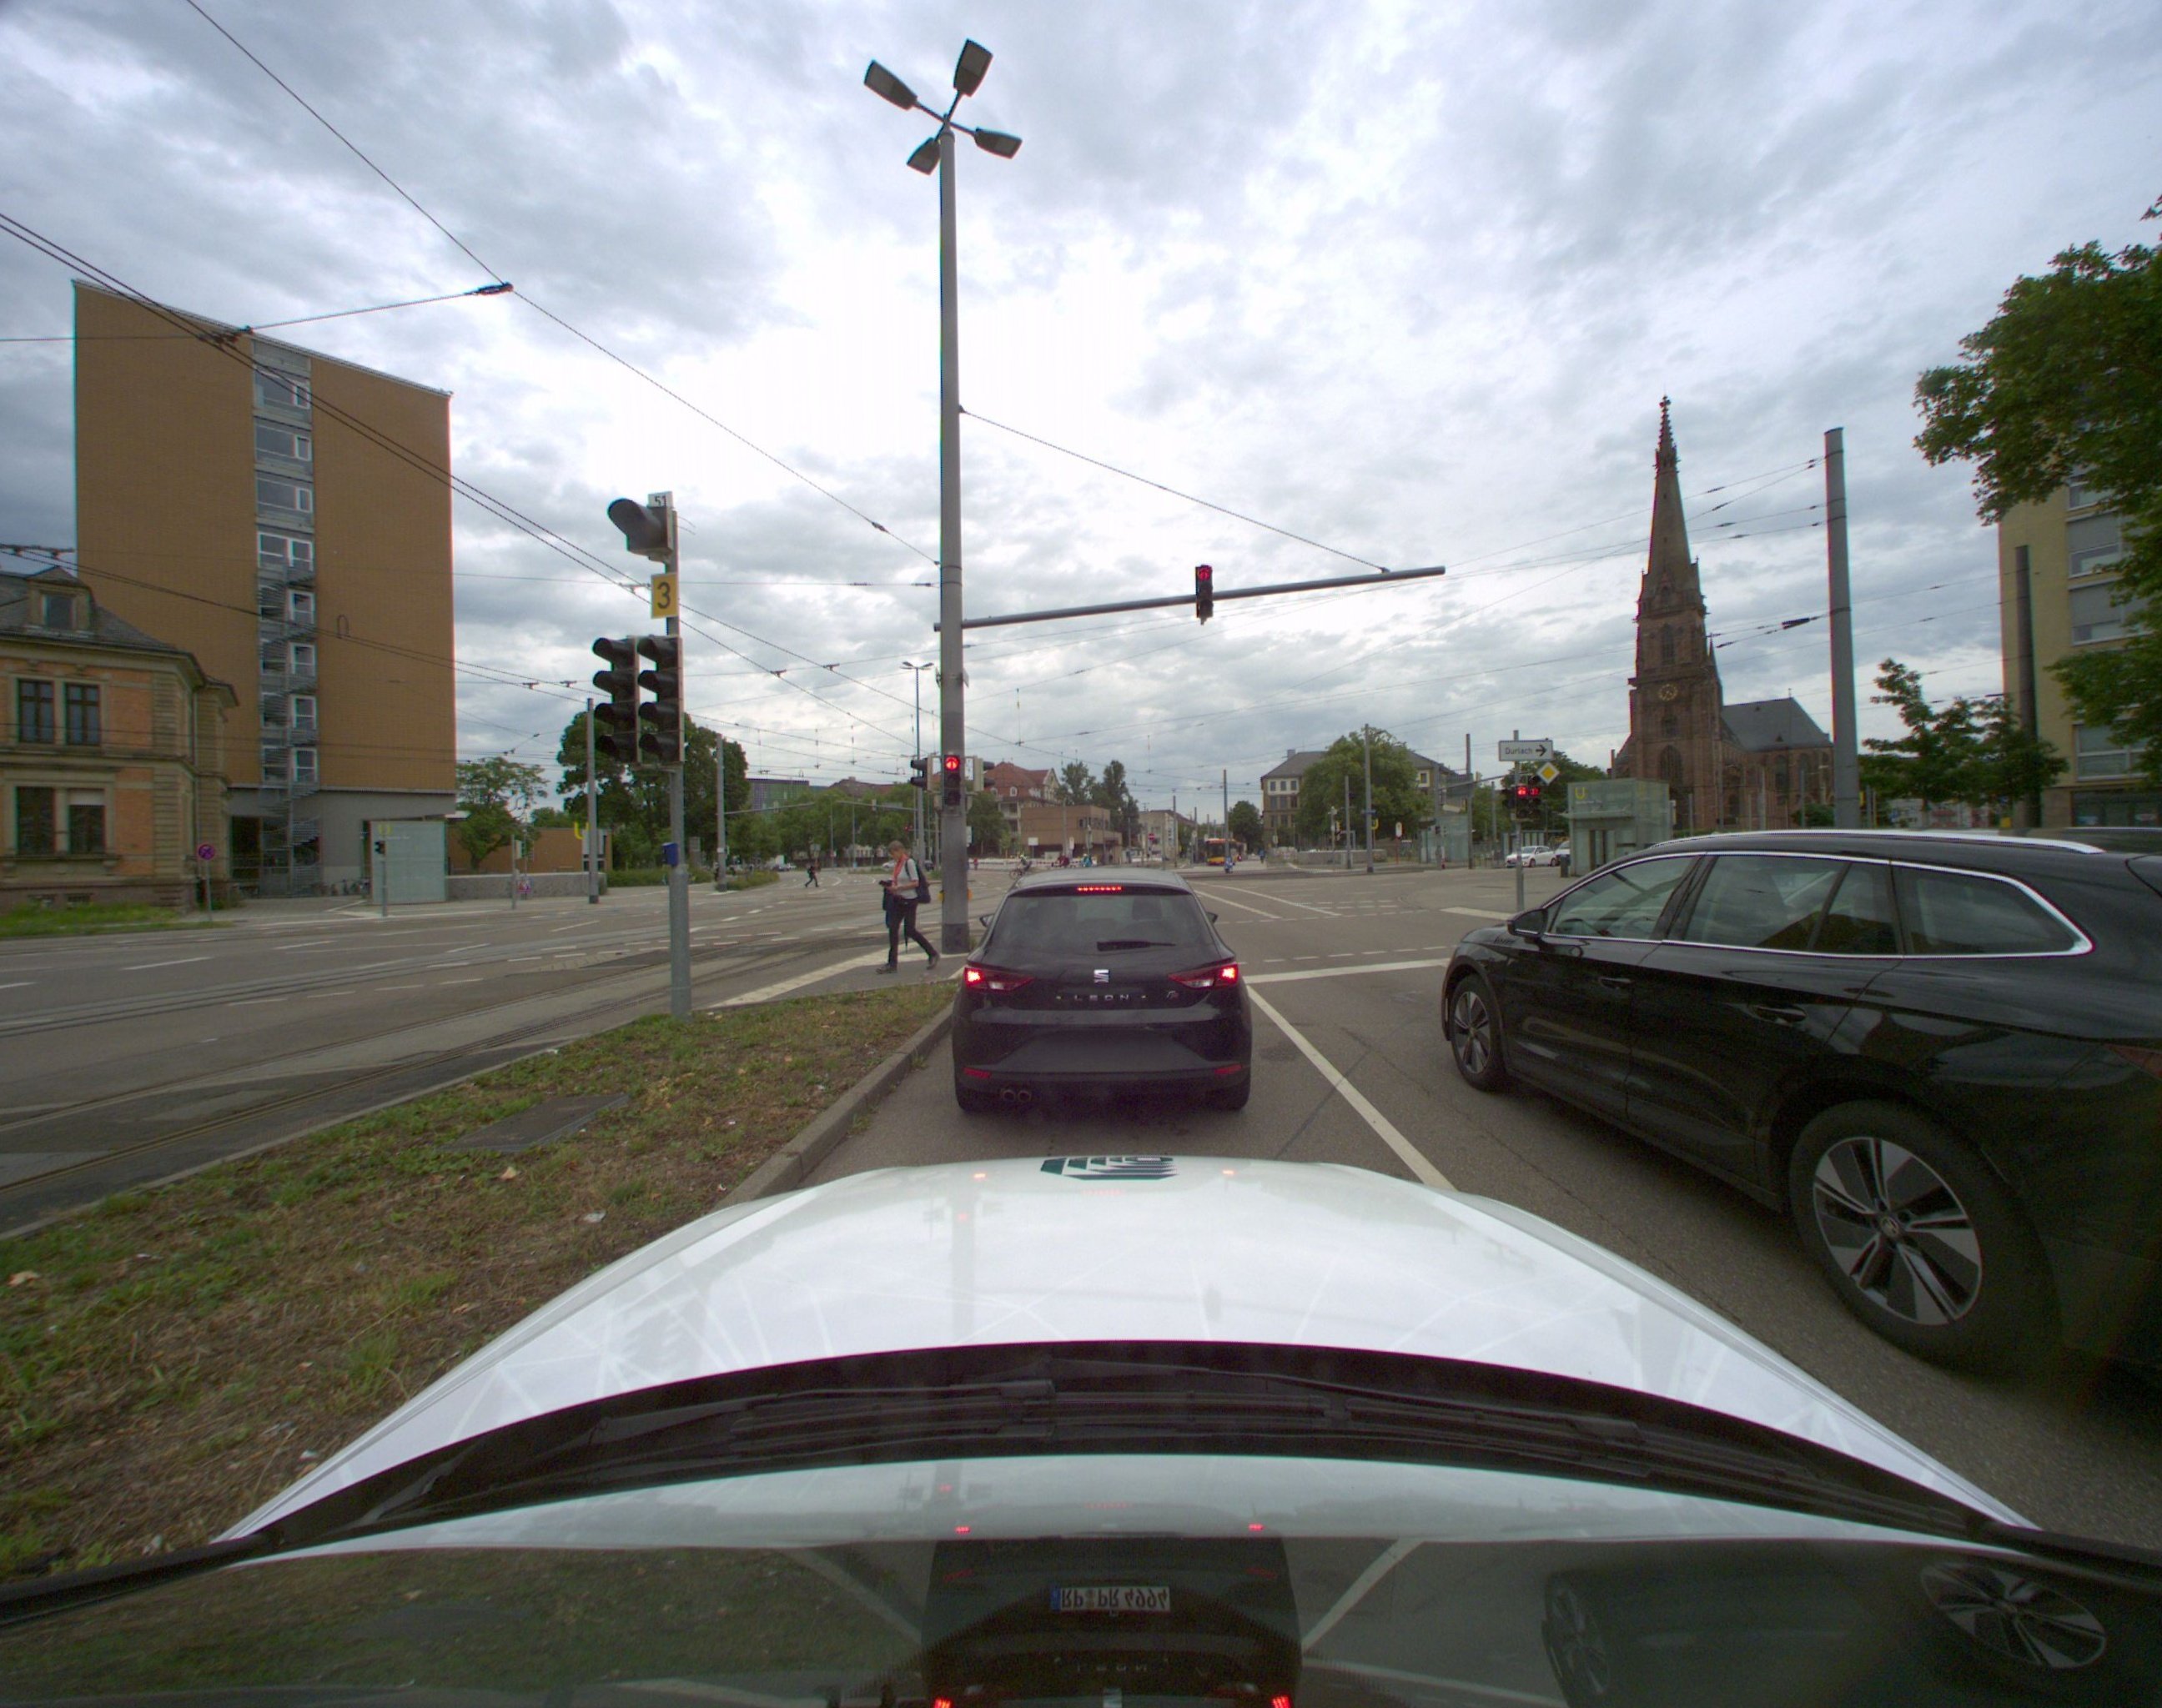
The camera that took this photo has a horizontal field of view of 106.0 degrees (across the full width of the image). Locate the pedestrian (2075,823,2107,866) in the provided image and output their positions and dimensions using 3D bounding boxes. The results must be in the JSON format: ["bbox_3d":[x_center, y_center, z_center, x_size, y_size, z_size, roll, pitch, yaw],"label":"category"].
[{"bbox_3d":[38.598,-0.364,31.122,0.875,1.638,0.631,-1,0,-31],"label":"pedestrian"}]

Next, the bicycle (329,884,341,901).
[{"bbox_3d":[-51.158,2.628,55.838,0.575,1.106,1.411,-1,0,-41],"label":"bicycle"}]

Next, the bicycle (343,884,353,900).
[{"bbox_3d":[-50.654,2.619,56.283,0.512,1.049,1.411,-1,0,-41],"label":"bicycle"}]

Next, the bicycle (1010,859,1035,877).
[{"bbox_3d":[-4.322,1.027,60.429,1.735,1.321,0.641,-1,0,-19],"label":"bicycle"}]

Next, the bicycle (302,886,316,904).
[{"bbox_3d":[-52.089,2.767,54.956,0.575,1.106,1.411,-1,0,-41],"label":"bicycle"}]

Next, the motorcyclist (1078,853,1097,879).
[{"bbox_3d":[0.421,0.763,52.989,0.984,1.649,0.742,-1,-1,-31],"label":"motorcyclist"}]

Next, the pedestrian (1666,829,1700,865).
[{"bbox_3d":[31.072,-0.368,42.036,0.950,1.797,1.076,-1,-2,-33],"label":"pedestrian"}]

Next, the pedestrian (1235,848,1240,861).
[{"bbox_3d":[24.124,0.117,125.467,0.659,2.013,0.692,-2,0,2],"label":"pedestrian"}]

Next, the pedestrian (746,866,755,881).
[{"bbox_3d":[-42.850,2.510,105.553,0.880,1.981,0.791,-1,-2,-17],"label":"pedestrian"}]

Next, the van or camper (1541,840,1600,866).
[{"bbox_3d":[35.272,-0.095,58.678,4.321,1.742,1.979,-1,-2,-34],"label":"van or camper"}]

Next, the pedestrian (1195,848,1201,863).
[{"bbox_3d":[15.153,0.234,105.415,0.618,1.918,0.711,-2,0,5],"label":"pedestrian"}]

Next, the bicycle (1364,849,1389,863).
[{"bbox_3d":[29.656,0.174,81.725,2.248,1.331,0.709,-2,-2,9],"label":"bicycle"}]

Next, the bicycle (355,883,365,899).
[{"bbox_3d":[-50.241,2.589,56.722,0.484,1.049,1.411,-1,0,-41],"label":"bicycle"}]

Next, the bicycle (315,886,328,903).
[{"bbox_3d":[-51.642,2.768,55.362,0.575,1.106,1.411,-1,0,-41],"label":"bicycle"}]

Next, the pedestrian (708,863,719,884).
[{"bbox_3d":[-35.185,1.888,77.957,0.799,1.981,0.872,-1,-2,-33],"label":"pedestrian"}]

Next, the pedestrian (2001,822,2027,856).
[{"bbox_3d":[45.958,-0.725,40.121,0.640,1.638,0.778,-1,0,-35],"label":"pedestrian"}]

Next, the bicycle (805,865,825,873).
[{"bbox_3d":[-39.626,2.227,121.344,0.930,1.179,2.747,-2,0,30],"label":"bicycle"}]

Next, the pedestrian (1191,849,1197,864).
[{"bbox_3d":[14.413,0.356,103.854,0.617,1.918,0.701,-2,0,11],"label":"pedestrian"}]

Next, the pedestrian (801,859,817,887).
[{"bbox_3d":[-19.760,1.381,59.258,1.023,2.013,0.841,-1,0,-18],"label":"pedestrian"}]

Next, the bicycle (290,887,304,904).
[{"bbox_3d":[-52.538,2.781,54.552,0.575,1.106,1.411,-1,0,-41],"label":"bicycle"}]

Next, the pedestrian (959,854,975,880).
[{"bbox_3d":[-8.768,1.022,62.785,1.032,1.934,0.695,-2,0,-24],"label":"pedestrian"}]

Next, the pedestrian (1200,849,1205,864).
[{"bbox_3d":[15.552,0.328,104.398,0.617,1.918,0.701,-2,0,11],"label":"pedestrian"}]

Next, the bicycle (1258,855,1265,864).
[{"bbox_3d":[22.923,0.668,103.411,0.859,1.104,2.310,-1,0,14],"label":"bicycle"}]

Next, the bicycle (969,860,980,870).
[{"bbox_3d":[-13.216,1.341,101.236,0.895,1.178,2.287,-1,0,-20],"label":"bicycle"}]

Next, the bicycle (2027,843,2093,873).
[{"bbox_3d":[31.505,0.137,26.230,0.596,0.917,1.253,-1,0,-28],"label":"bicycle"}]

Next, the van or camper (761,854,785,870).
[{"bbox_3d":[-62.826,1.714,165.993,5.434,3.124,2.410,-2,0,43],"label":"van or camper"}]

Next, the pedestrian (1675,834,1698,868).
[{"bbox_3d":[30.059,-0.148,40.434,0.875,1.638,0.631,-1,0,-32],"label":"pedestrian"}]

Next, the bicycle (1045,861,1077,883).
[{"bbox_3d":[-1.160,1.045,47.774,0.767,1.184,2.045,-2,0,37],"label":"bicycle"}]

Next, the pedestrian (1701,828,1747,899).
[{"bbox_3d":[17.960,0.248,22.749,0.878,1.930,1.023,-1,0,43],"label":"pedestrian"}]

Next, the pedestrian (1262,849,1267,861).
[{"bbox_3d":[30.672,0.229,135.877,0.659,2.013,0.692,-2,0,2],"label":"pedestrian"}]
